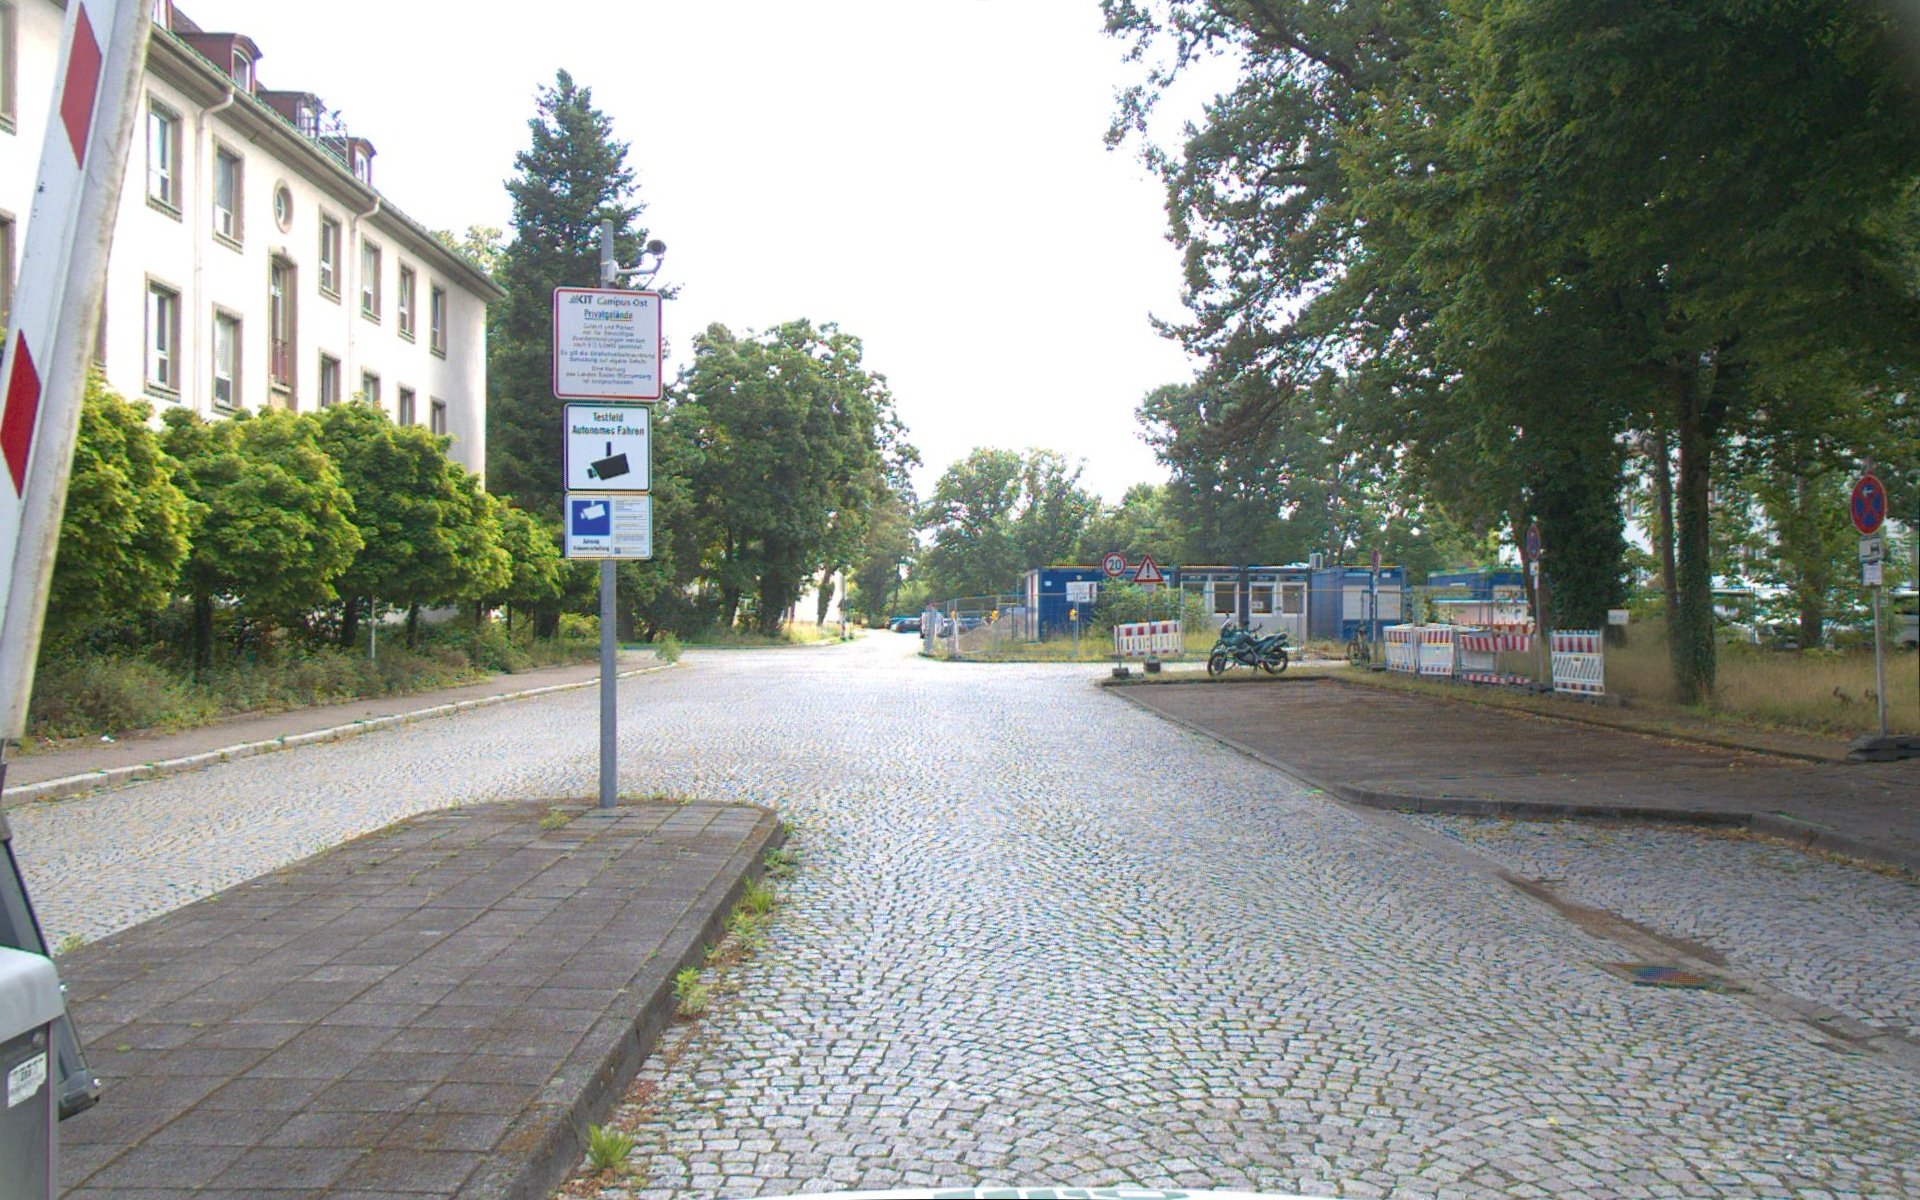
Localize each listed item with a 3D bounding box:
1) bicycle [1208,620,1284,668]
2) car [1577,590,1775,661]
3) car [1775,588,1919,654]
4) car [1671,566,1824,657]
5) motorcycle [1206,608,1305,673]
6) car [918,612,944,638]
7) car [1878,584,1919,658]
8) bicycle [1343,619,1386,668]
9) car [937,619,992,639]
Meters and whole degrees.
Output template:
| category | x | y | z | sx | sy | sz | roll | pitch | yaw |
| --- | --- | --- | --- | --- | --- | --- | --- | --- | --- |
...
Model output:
| category | x | y | z | sx | sy | sz | roll | pitch | yaw |
| --- | --- | --- | --- | --- | --- | --- | --- | --- | --- |
| bicycle | 7.340 | 1.125 | 42.454 | 1.859 | 1.218 | 0.656 | -1 | -1 | 18 |
| car | 20.055 | 0.695 | 46.435 | 4.759 | 1.954 | 1.906 | 0 | 0 | -1 |
| car | 26.999 | 0.654 | 50.408 | 1.952 | 1.857 | 4.874 | 1 | -1 | 0 |
| car | 24.121 | 0.384 | 50.965 | 1.952 | 2.601 | 5.909 | 1 | -1 | 1 |
| motorcycle | 7.148 | 0.971 | 40.007 | 2.233 | 1.511 | 0.756 | -1 | -1 | -7 |
| car | -2.323 | 1.977 | 130.850 | 1.954 | 2.049 | 4.088 | 0 | -1 | -3 |
| car | 25.538 | 0.555 | 40.764 | 1.971 | 1.857 | 4.830 | 2 | -1 | -28 |
| bicycle | 10.159 | 1.067 | 41.577 | 0.629 | 1.190 | 1.905 | -1 | 0 | 1 |
| car | 0.372 | 2.388 | 136.689 | 4.309 | 1.537 | 2.001 | 1 | -1 | 6 |
